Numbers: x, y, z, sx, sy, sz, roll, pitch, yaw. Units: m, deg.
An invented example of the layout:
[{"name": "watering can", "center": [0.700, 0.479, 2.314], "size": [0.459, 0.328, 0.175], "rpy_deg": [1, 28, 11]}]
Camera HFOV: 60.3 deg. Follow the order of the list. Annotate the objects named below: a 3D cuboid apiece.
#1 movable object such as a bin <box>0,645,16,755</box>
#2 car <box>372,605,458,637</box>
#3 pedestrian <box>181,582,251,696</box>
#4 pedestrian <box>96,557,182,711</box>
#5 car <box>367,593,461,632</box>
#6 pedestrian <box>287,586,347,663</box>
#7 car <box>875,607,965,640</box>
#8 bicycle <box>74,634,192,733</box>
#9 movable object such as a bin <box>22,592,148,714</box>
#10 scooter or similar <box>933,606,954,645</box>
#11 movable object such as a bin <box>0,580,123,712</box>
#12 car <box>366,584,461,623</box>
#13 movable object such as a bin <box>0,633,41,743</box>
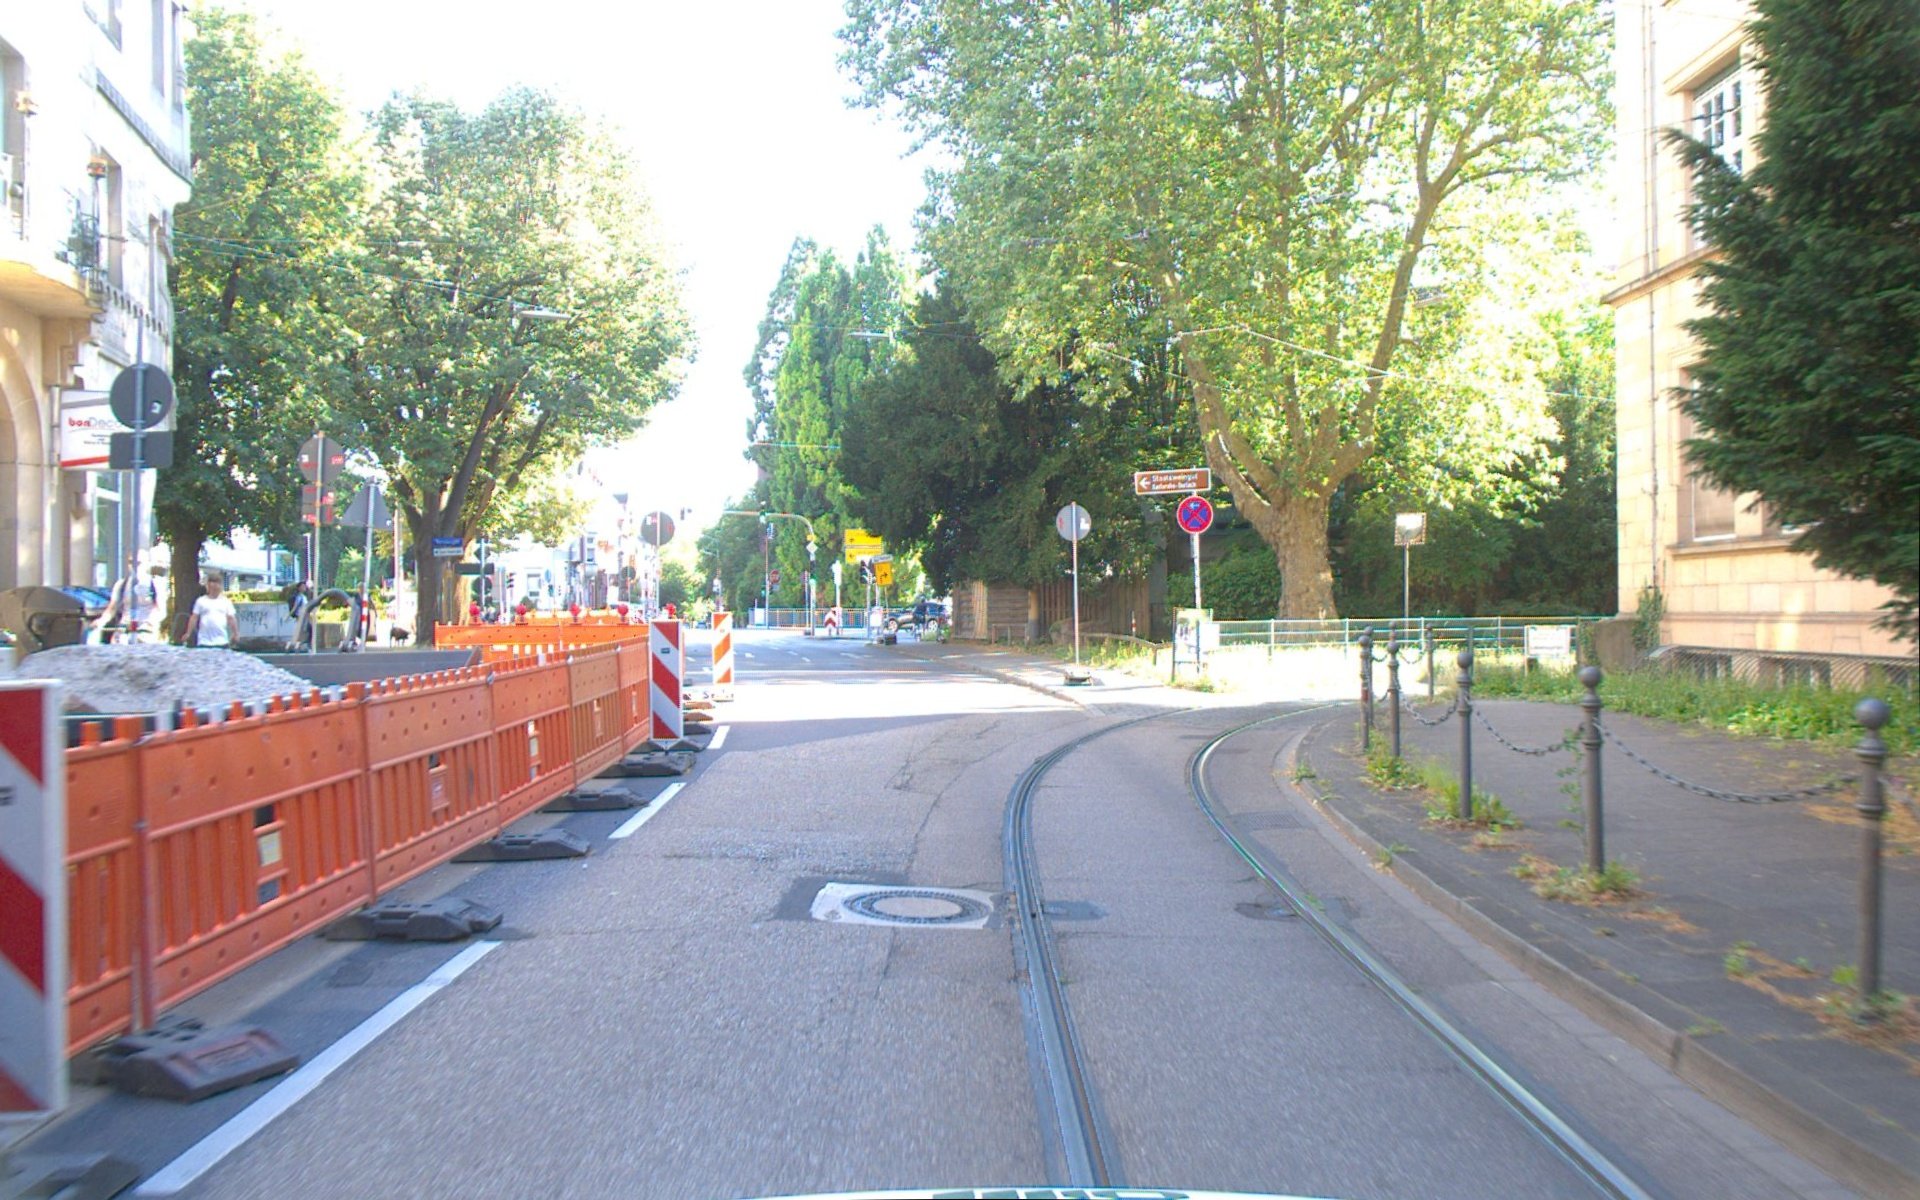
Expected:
[{"name": "movable object such as a bin", "center": [-9.493, 0.959, 15.829], "size": [0.624, 1.041, 0.555], "rpy_deg": [1, -1, -10]}, {"name": "car", "center": [-26.917, 1.044, 81.774], "size": [3.926, 1.505, 1.991], "rpy_deg": [1, 0, -16]}, {"name": "pedestrian", "center": [-10.923, 0.565, 24.324], "size": [0.808, 1.631, 0.912], "rpy_deg": [1, -1, -18]}, {"name": "pedestrian", "center": [-8.618, 0.351, 17.380], "size": [0.586, 1.583, 0.615], "rpy_deg": [1, -1, -5]}, {"name": "car", "center": [-27.984, 0.648, 84.883], "size": [4.234, 1.884, 1.996], "rpy_deg": [1, 0, -10]}, {"name": "pedestrian", "center": [-15.316, 0.569, 39.447], "size": [1.022, 1.812, 1.191], "rpy_deg": [0, 0, -4]}, {"name": "car", "center": [-2.215, 1.263, 90.295], "size": [4.566, 1.700, 1.994], "rpy_deg": [0, -3, 33]}, {"name": "bicycle", "center": [-8.612, 0.851, 17.276], "size": [0.588, 0.948, 1.472], "rpy_deg": [1, 0, -5]}, {"name": "movable object such as a bin", "center": [-10.791, 0.638, 20.444], "size": [1.064, 1.456, 1.340], "rpy_deg": [1, 0, -15]}, {"name": "scooter or similar", "center": [-0.537, 0.818, 53.485], "size": [0.430, 1.223, 1.256], "rpy_deg": [-3, 0, -8]}, {"name": "movable object such as a bin", "center": [-10.428, 0.519, 19.088], "size": [1.064, 1.456, 1.402], "rpy_deg": [1, 0, -15]}, {"name": "car", "center": [-29.002, 0.192, 87.869], "size": [4.588, 1.999, 2.110], "rpy_deg": [1, 0, -14]}, {"name": "movable object such as a bin", "center": [-9.659, 0.868, 16.490], "size": [0.624, 1.059, 0.762], "rpy_deg": [1, 0, -10]}]
